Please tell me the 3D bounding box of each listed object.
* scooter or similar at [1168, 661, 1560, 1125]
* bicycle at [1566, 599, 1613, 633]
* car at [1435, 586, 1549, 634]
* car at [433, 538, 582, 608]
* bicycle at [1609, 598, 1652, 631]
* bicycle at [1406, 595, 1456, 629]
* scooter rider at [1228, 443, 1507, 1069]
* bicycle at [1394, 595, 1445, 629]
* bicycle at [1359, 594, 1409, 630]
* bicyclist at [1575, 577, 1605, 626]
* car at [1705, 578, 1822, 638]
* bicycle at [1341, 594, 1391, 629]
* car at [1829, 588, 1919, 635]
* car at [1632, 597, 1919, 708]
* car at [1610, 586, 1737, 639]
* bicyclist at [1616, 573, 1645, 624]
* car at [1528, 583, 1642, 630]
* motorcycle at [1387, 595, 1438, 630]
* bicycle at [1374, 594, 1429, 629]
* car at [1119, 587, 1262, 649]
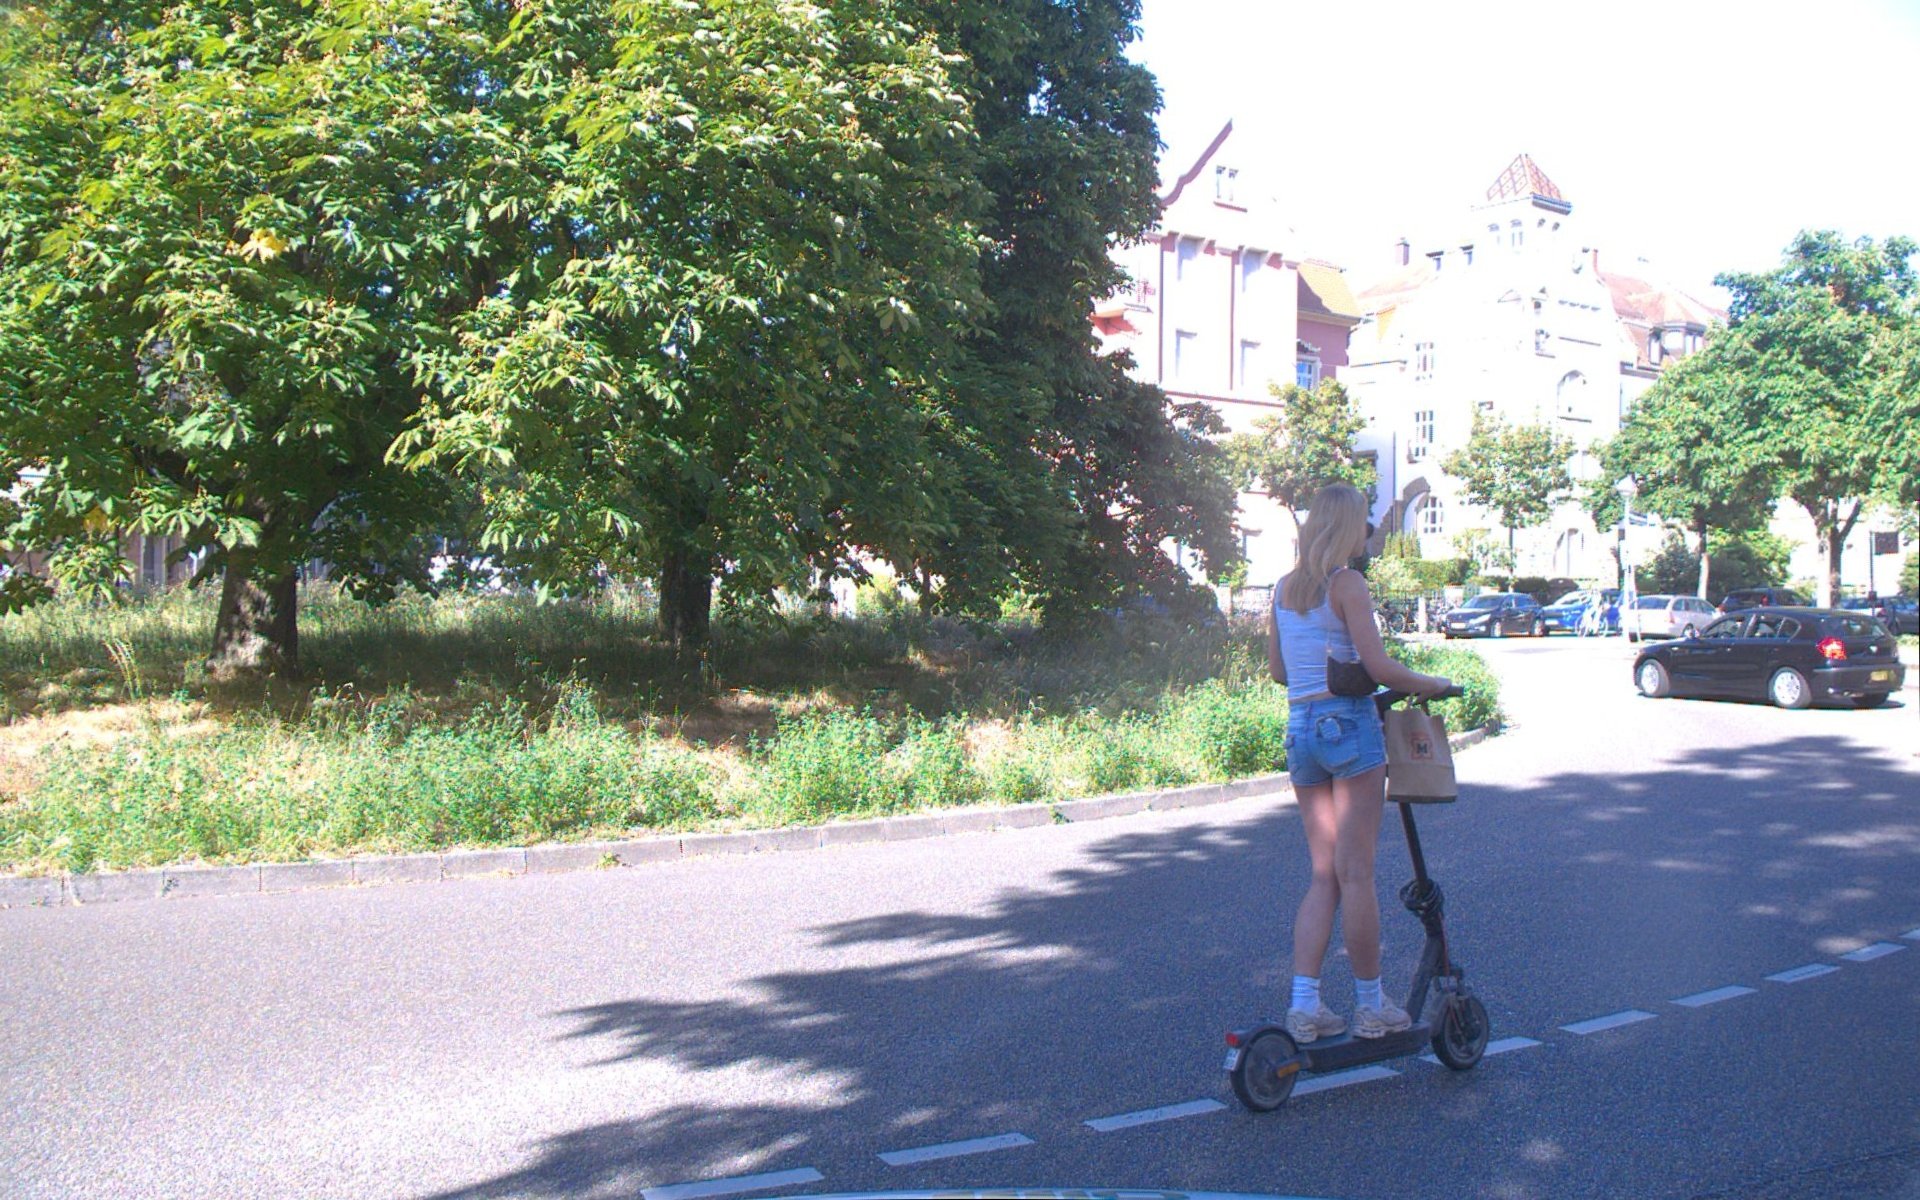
[{"bbox_3d":[1.299,0.875,5.342,1.089,1.305,0.627,0,0,-26],"label":"scooter or similar"},{"bbox_3d":[20.918,0.528,54.929,1.843,1.127,0.588,0,0,-37],"label":"bicycle"},{"bbox_3d":[17.901,0.331,55.574,4.303,1.509,1.781,0,-2,-43],"label":"car"},{"bbox_3d":[-18.342,-1.105,66.869,6.240,2.646,2.098,2,0,32],"label":"car"},{"bbox_3d":[23.135,0.513,57.049,1.699,1.127,0.637,1,-1,-38],"label":"bicycle"},{"bbox_3d":[16.695,0.414,58.661,0.496,1.126,1.702,0,2,-40],"label":"bicycle"},{"bbox_3d":[1.303,0.462,5.341,0.622,1.864,0.620,0,0,-25],"label":"scooter rider"},{"bbox_3d":[16.182,0.415,58.324,0.497,1.126,1.699,0,2,-43],"label":"bicycle"},{"bbox_3d":[14.581,0.405,56.910,0.540,1.134,1.705,0,2,-36],"label":"bicycle"},{"bbox_3d":[20.910,0.039,54.926,0.796,1.609,0.588,0,-1,-37],"label":"bicyclist"},{"bbox_3d":[24.838,0.222,51.054,4.302,1.758,1.782,0,1,-42],"label":"car"},{"bbox_3d":[13.828,0.387,56.364,0.540,1.134,1.705,0,2,-36],"label":"bicycle"},{"bbox_3d":[31.264,0.359,55.655,4.287,1.499,1.788,0,1,-35],"label":"car"},{"bbox_3d":[12.131,0.707,24.526,1.837,1.444,3.976,-1,1,-20],"label":"car"},{"bbox_3d":[20.773,0.346,48.106,4.302,1.440,1.782,0,1,-42],"label":"car"},{"bbox_3d":[23.123,-0.035,57.051,0.715,1.744,0.637,1,-1,-37],"label":"bicyclist"},{"bbox_3d":[22.268,0.217,58.859,4.354,1.589,1.785,0,-2,-38],"label":"car"},{"bbox_3d":[15.833,0.423,57.869,0.497,1.126,1.699,0,2,-43],"label":"motorcycle"},{"bbox_3d":[15.322,0.406,57.423,1.794,1.126,0.499,3,2,38],"label":"bicycle"},{"bbox_3d":[5.987,0.433,43.393,1.801,1.559,3.965,0,0,-27],"label":"car"}]
